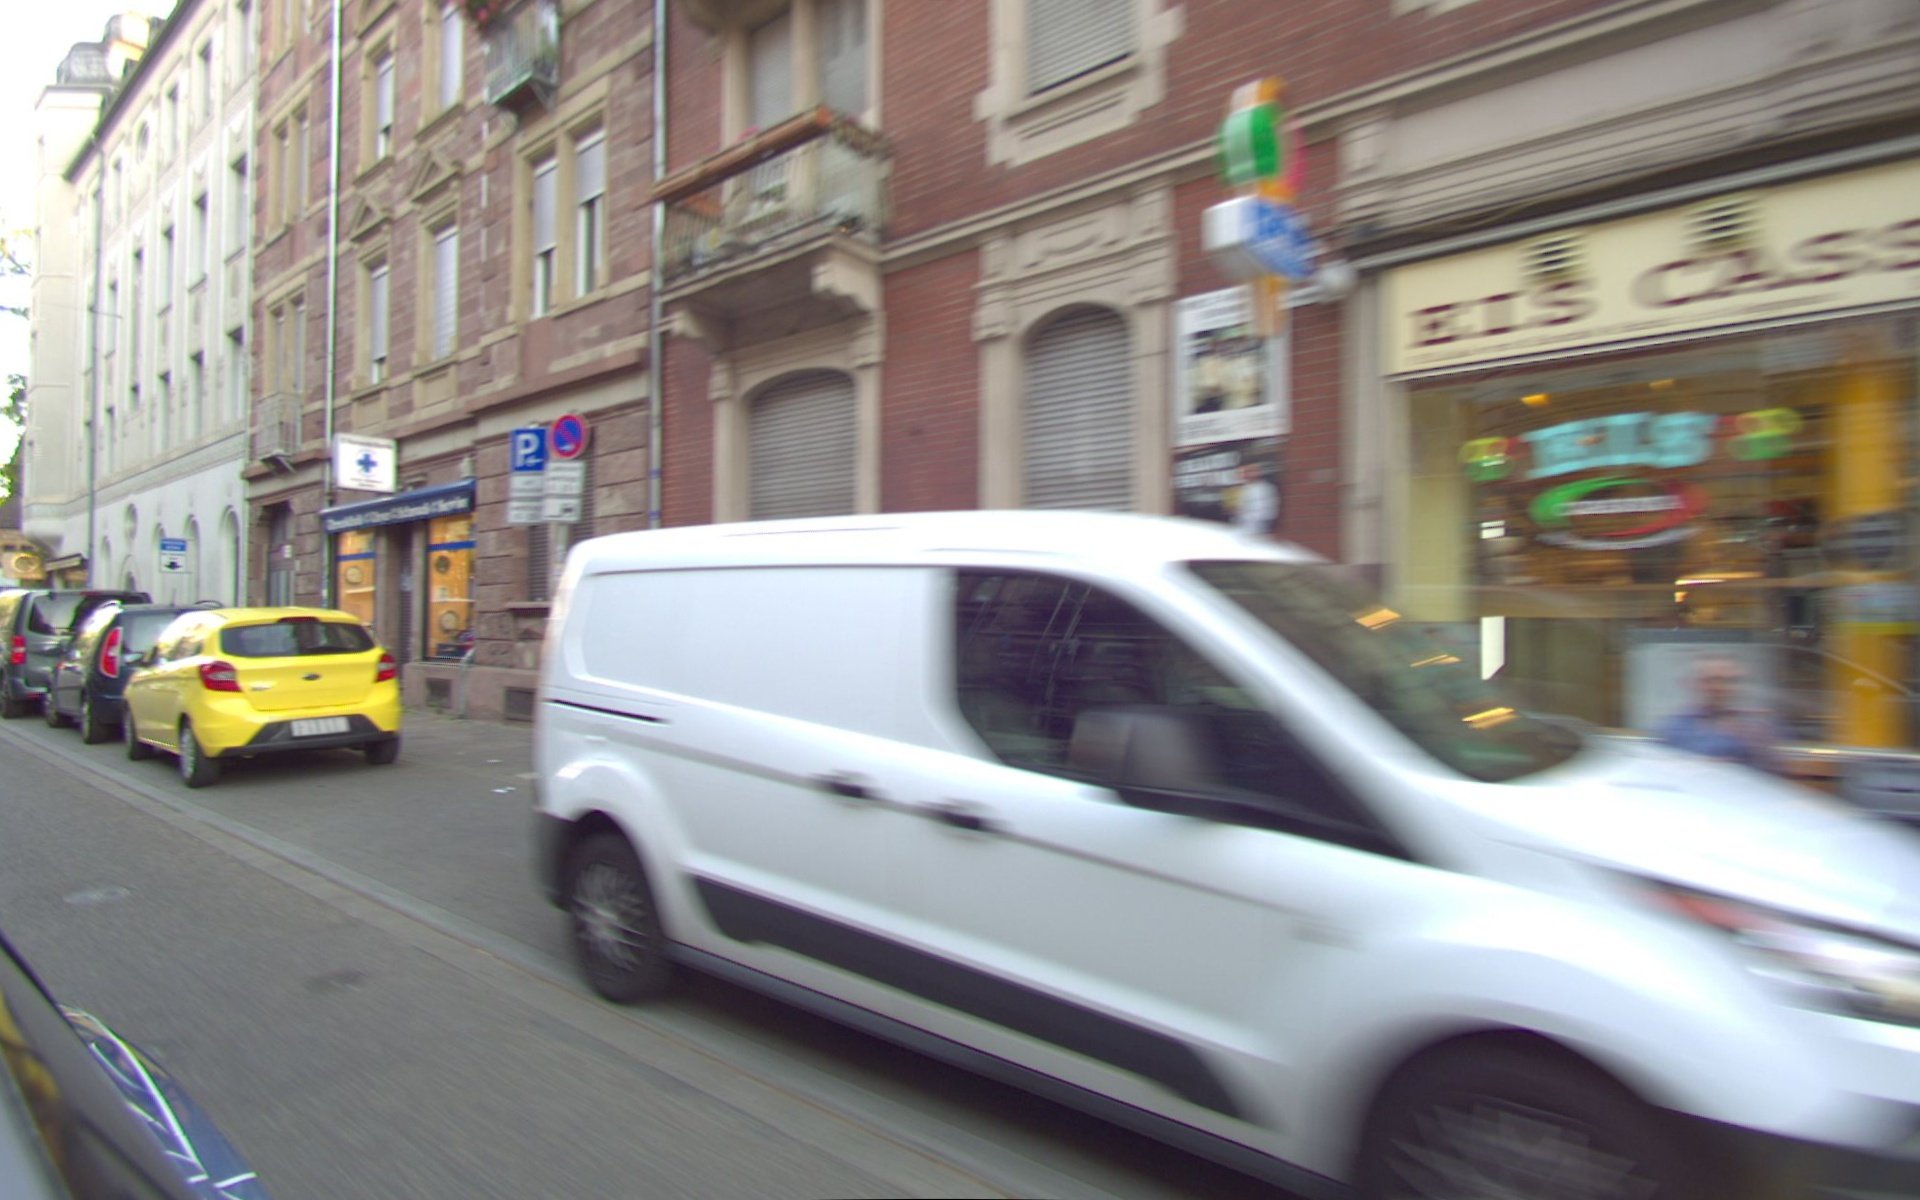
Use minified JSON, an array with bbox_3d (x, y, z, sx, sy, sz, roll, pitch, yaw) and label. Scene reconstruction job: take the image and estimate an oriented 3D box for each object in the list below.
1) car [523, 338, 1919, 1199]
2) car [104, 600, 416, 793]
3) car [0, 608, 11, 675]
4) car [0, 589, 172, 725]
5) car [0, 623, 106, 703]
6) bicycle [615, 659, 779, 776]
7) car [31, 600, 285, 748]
[{"bbox_3d":[0.597,0.525,3.271,4.582,1.802,1.753,0,-1,39],"label":"car"},{"bbox_3d":[-7.003,0.813,9.988,3.791,1.541,1.687,-1,-2,42],"label":"car"},{"bbox_3d":[-25.614,1.048,25.747,3.913,1.660,1.708,-1,-1,40],"label":"car"},{"bbox_3d":[-14.617,0.844,16.378,4.900,1.897,1.908,-1,-2,39],"label":"car"},{"bbox_3d":[-18.599,1.174,19.963,4.477,1.441,1.908,-1,-2,39],"label":"car"},{"bbox_3d":[-2.531,1.070,9.591,1.991,0.952,0.353,0,0,37],"label":"bicycle"},{"bbox_3d":[-10.409,0.846,13.038,3.968,1.608,1.907,-1,-2,42],"label":"car"}]
